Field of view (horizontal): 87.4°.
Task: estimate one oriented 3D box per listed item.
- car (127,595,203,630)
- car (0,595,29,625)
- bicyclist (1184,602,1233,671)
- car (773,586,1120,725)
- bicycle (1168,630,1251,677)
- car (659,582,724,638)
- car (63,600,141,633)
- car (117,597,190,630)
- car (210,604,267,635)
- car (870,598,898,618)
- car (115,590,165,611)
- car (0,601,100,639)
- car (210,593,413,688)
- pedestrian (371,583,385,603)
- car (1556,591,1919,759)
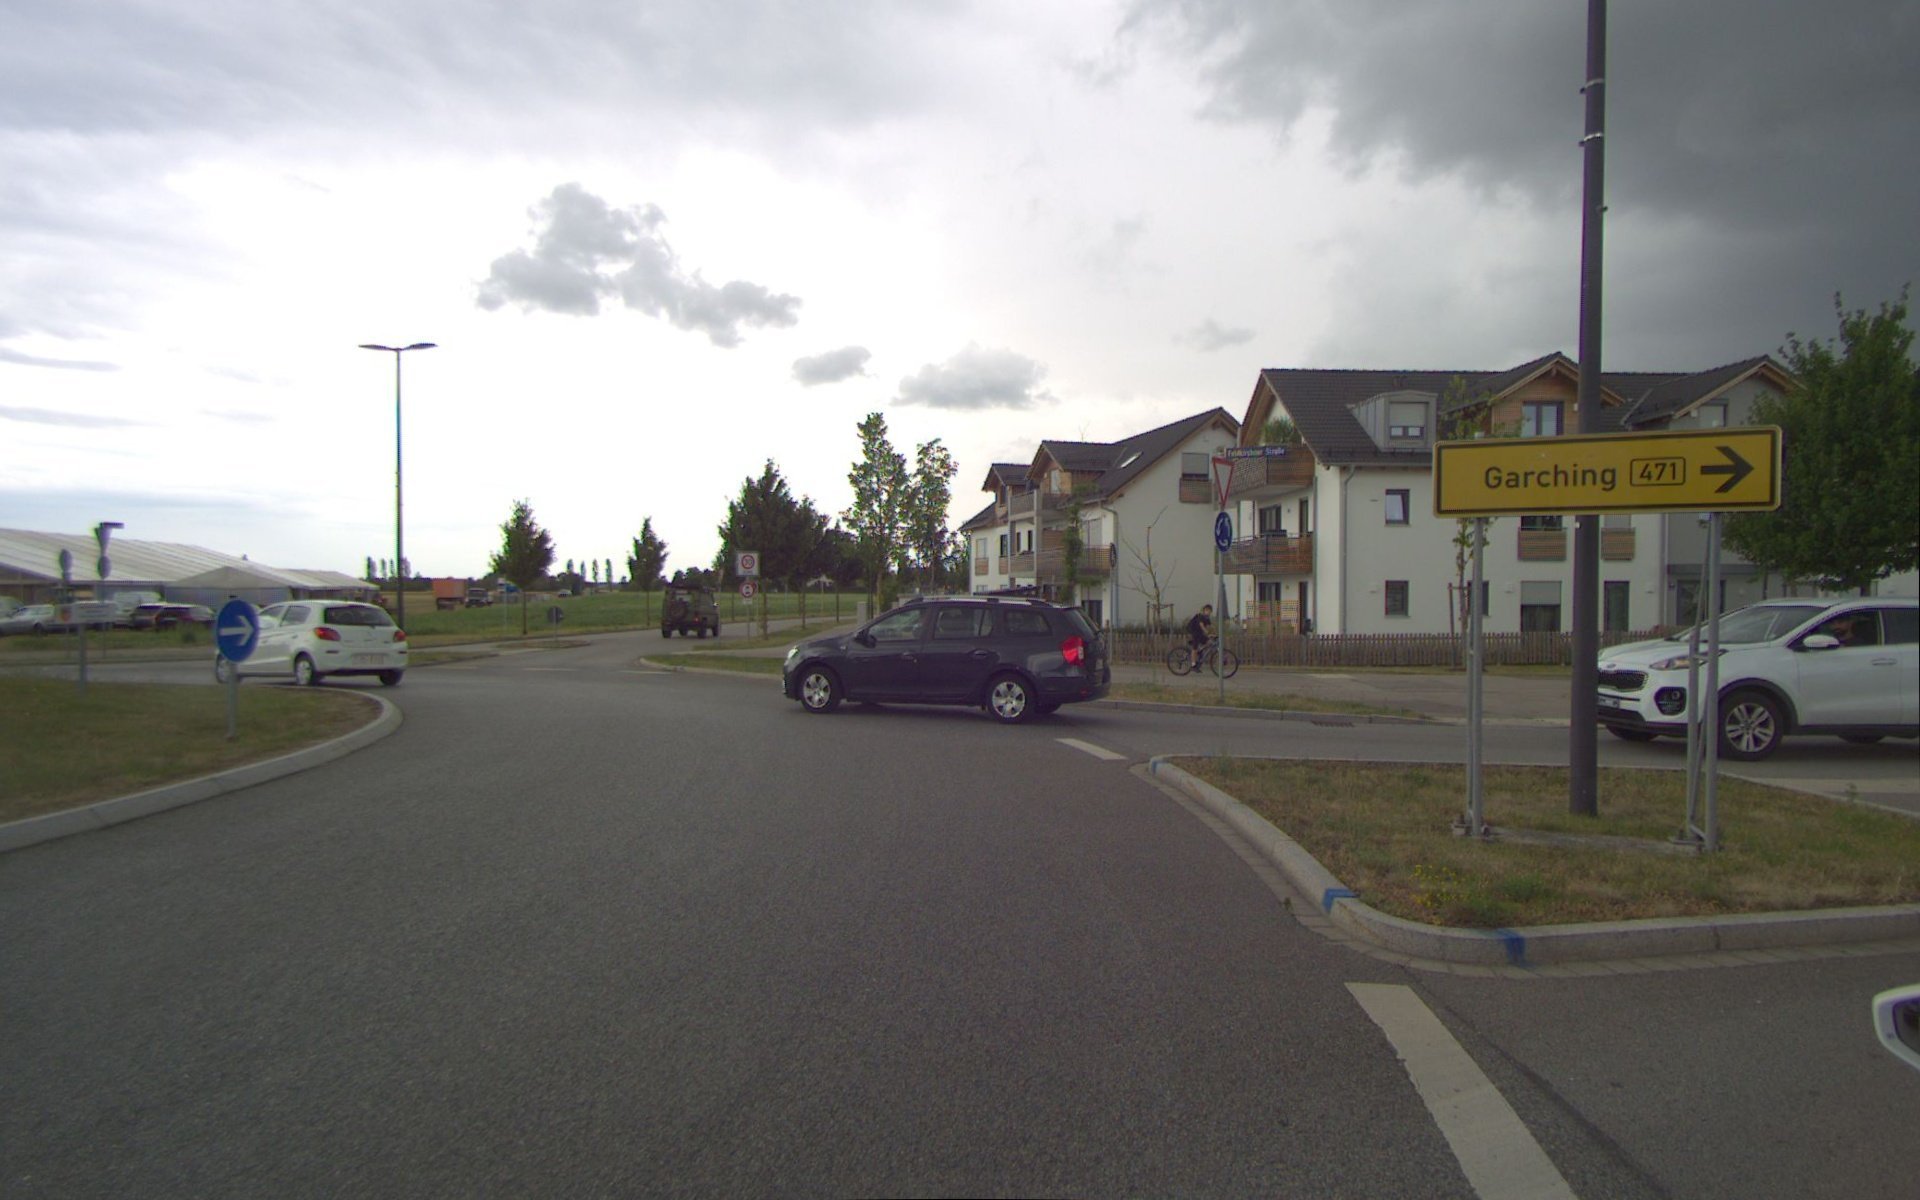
[{"bbox_3d":[-38.500,0.588,48.651,3.808,1.628,1.632,1,1,31],"label":"car"},{"bbox_3d":[-48.880,0.521,50.250,1.922,1.461,3.982,-1,1,-19],"label":"car"},{"bbox_3d":[5.353,0.776,21.656,0.854,1.466,0.723,0,0,31],"label":"bicyclist"},{"bbox_3d":[-0.149,0.655,13.184,4.194,1.584,1.774,1,-1,19],"label":"car"},{"bbox_3d":[5.368,1.139,21.644,1.684,0.959,0.496,0,-1,31],"label":"bicycle"},{"bbox_3d":[-11.535,0.371,43.383,1.962,2.284,4.567,0,1,-5],"label":"car"},{"bbox_3d":[-45.111,0.811,52.921,1.806,1.628,3.813,0,1,-19],"label":"car"},{"bbox_3d":[-42.858,0.679,53.461,1.806,1.628,3.813,0,1,-19],"label":"car"},{"bbox_3d":[-39.489,1.040,55.070,1.707,1.574,3.977,0,1,-23],"label":"car"},{"bbox_3d":[-6.619,0.670,87.756,1.822,1.662,4.001,1,1,4],"label":"car"},{"bbox_3d":[-64.268,0.024,78.800,1.806,1.628,3.813,0,1,-18],"label":"car"},{"bbox_3d":[-40.898,0.868,44.982,3.798,1.628,1.735,0,1,14],"label":"car"},{"bbox_3d":[-11.463,0.694,17.747,3.338,1.539,1.630,-1,-1,29],"label":"car"},{"bbox_3d":[-61.992,-0.744,107.069,1.034,2.041,1.057,0,1,-15],"label":"pedestrian"},{"bbox_3d":[9.107,0.756,10.819,4.362,1.647,1.714,0,0,0],"label":"car"}]
